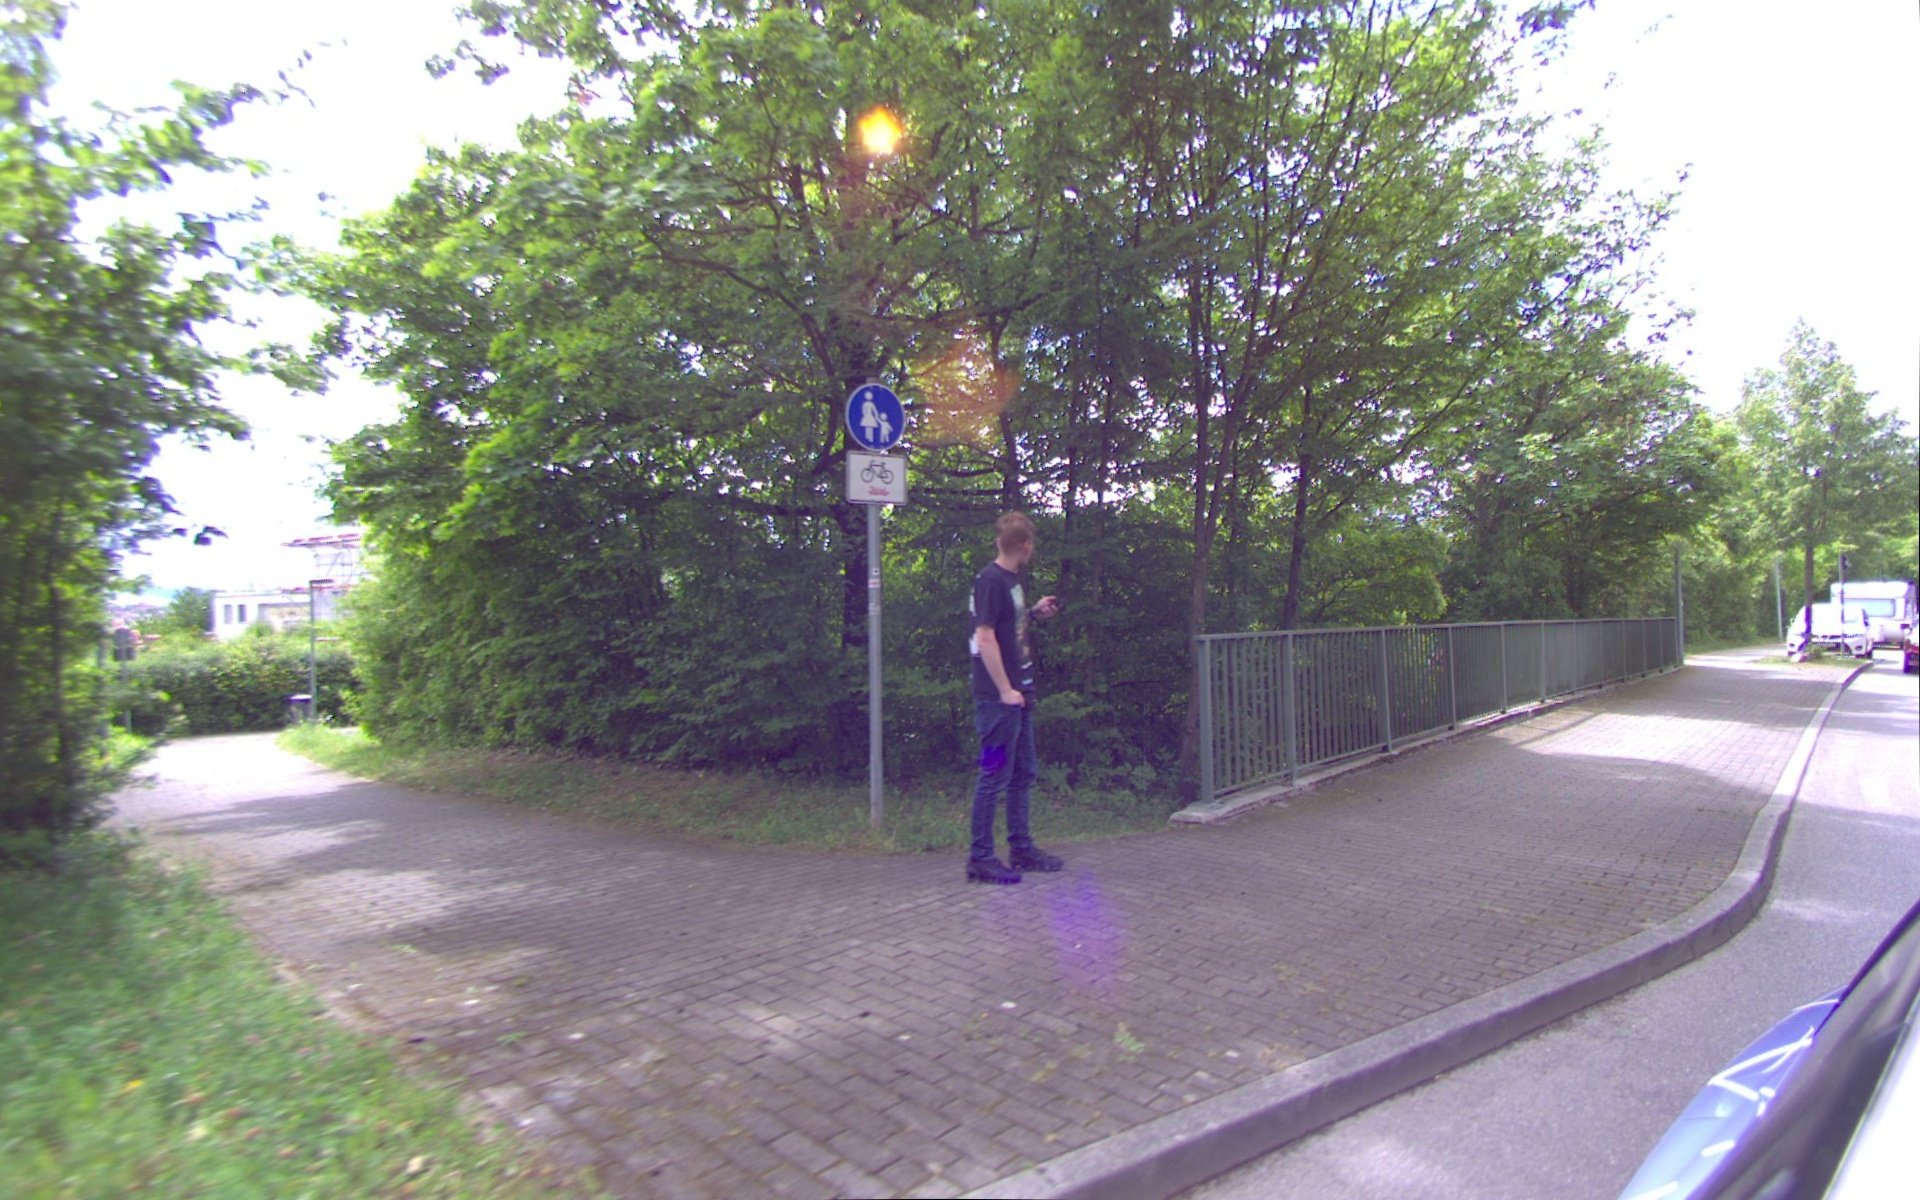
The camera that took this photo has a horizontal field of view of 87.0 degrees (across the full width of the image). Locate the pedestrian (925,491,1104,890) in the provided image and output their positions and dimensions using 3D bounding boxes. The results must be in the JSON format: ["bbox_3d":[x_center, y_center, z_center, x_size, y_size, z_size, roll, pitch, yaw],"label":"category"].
[{"bbox_3d":[0.268,0.406,5.033,0.680,1.806,0.579,0,0,44],"label":"pedestrian"}]

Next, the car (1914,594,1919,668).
[{"bbox_3d":[24.259,0.742,24.310,1.907,1.720,4.317,2,1,44],"label":"car"}]

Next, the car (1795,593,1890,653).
[{"bbox_3d":[26.306,0.633,30.120,4.300,1.620,1.806,1,1,-45],"label":"car"}]

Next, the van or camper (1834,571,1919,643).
[{"bbox_3d":[35.548,0.219,38.932,4.989,2.585,2.357,0,1,-43],"label":"van or camper"}]
